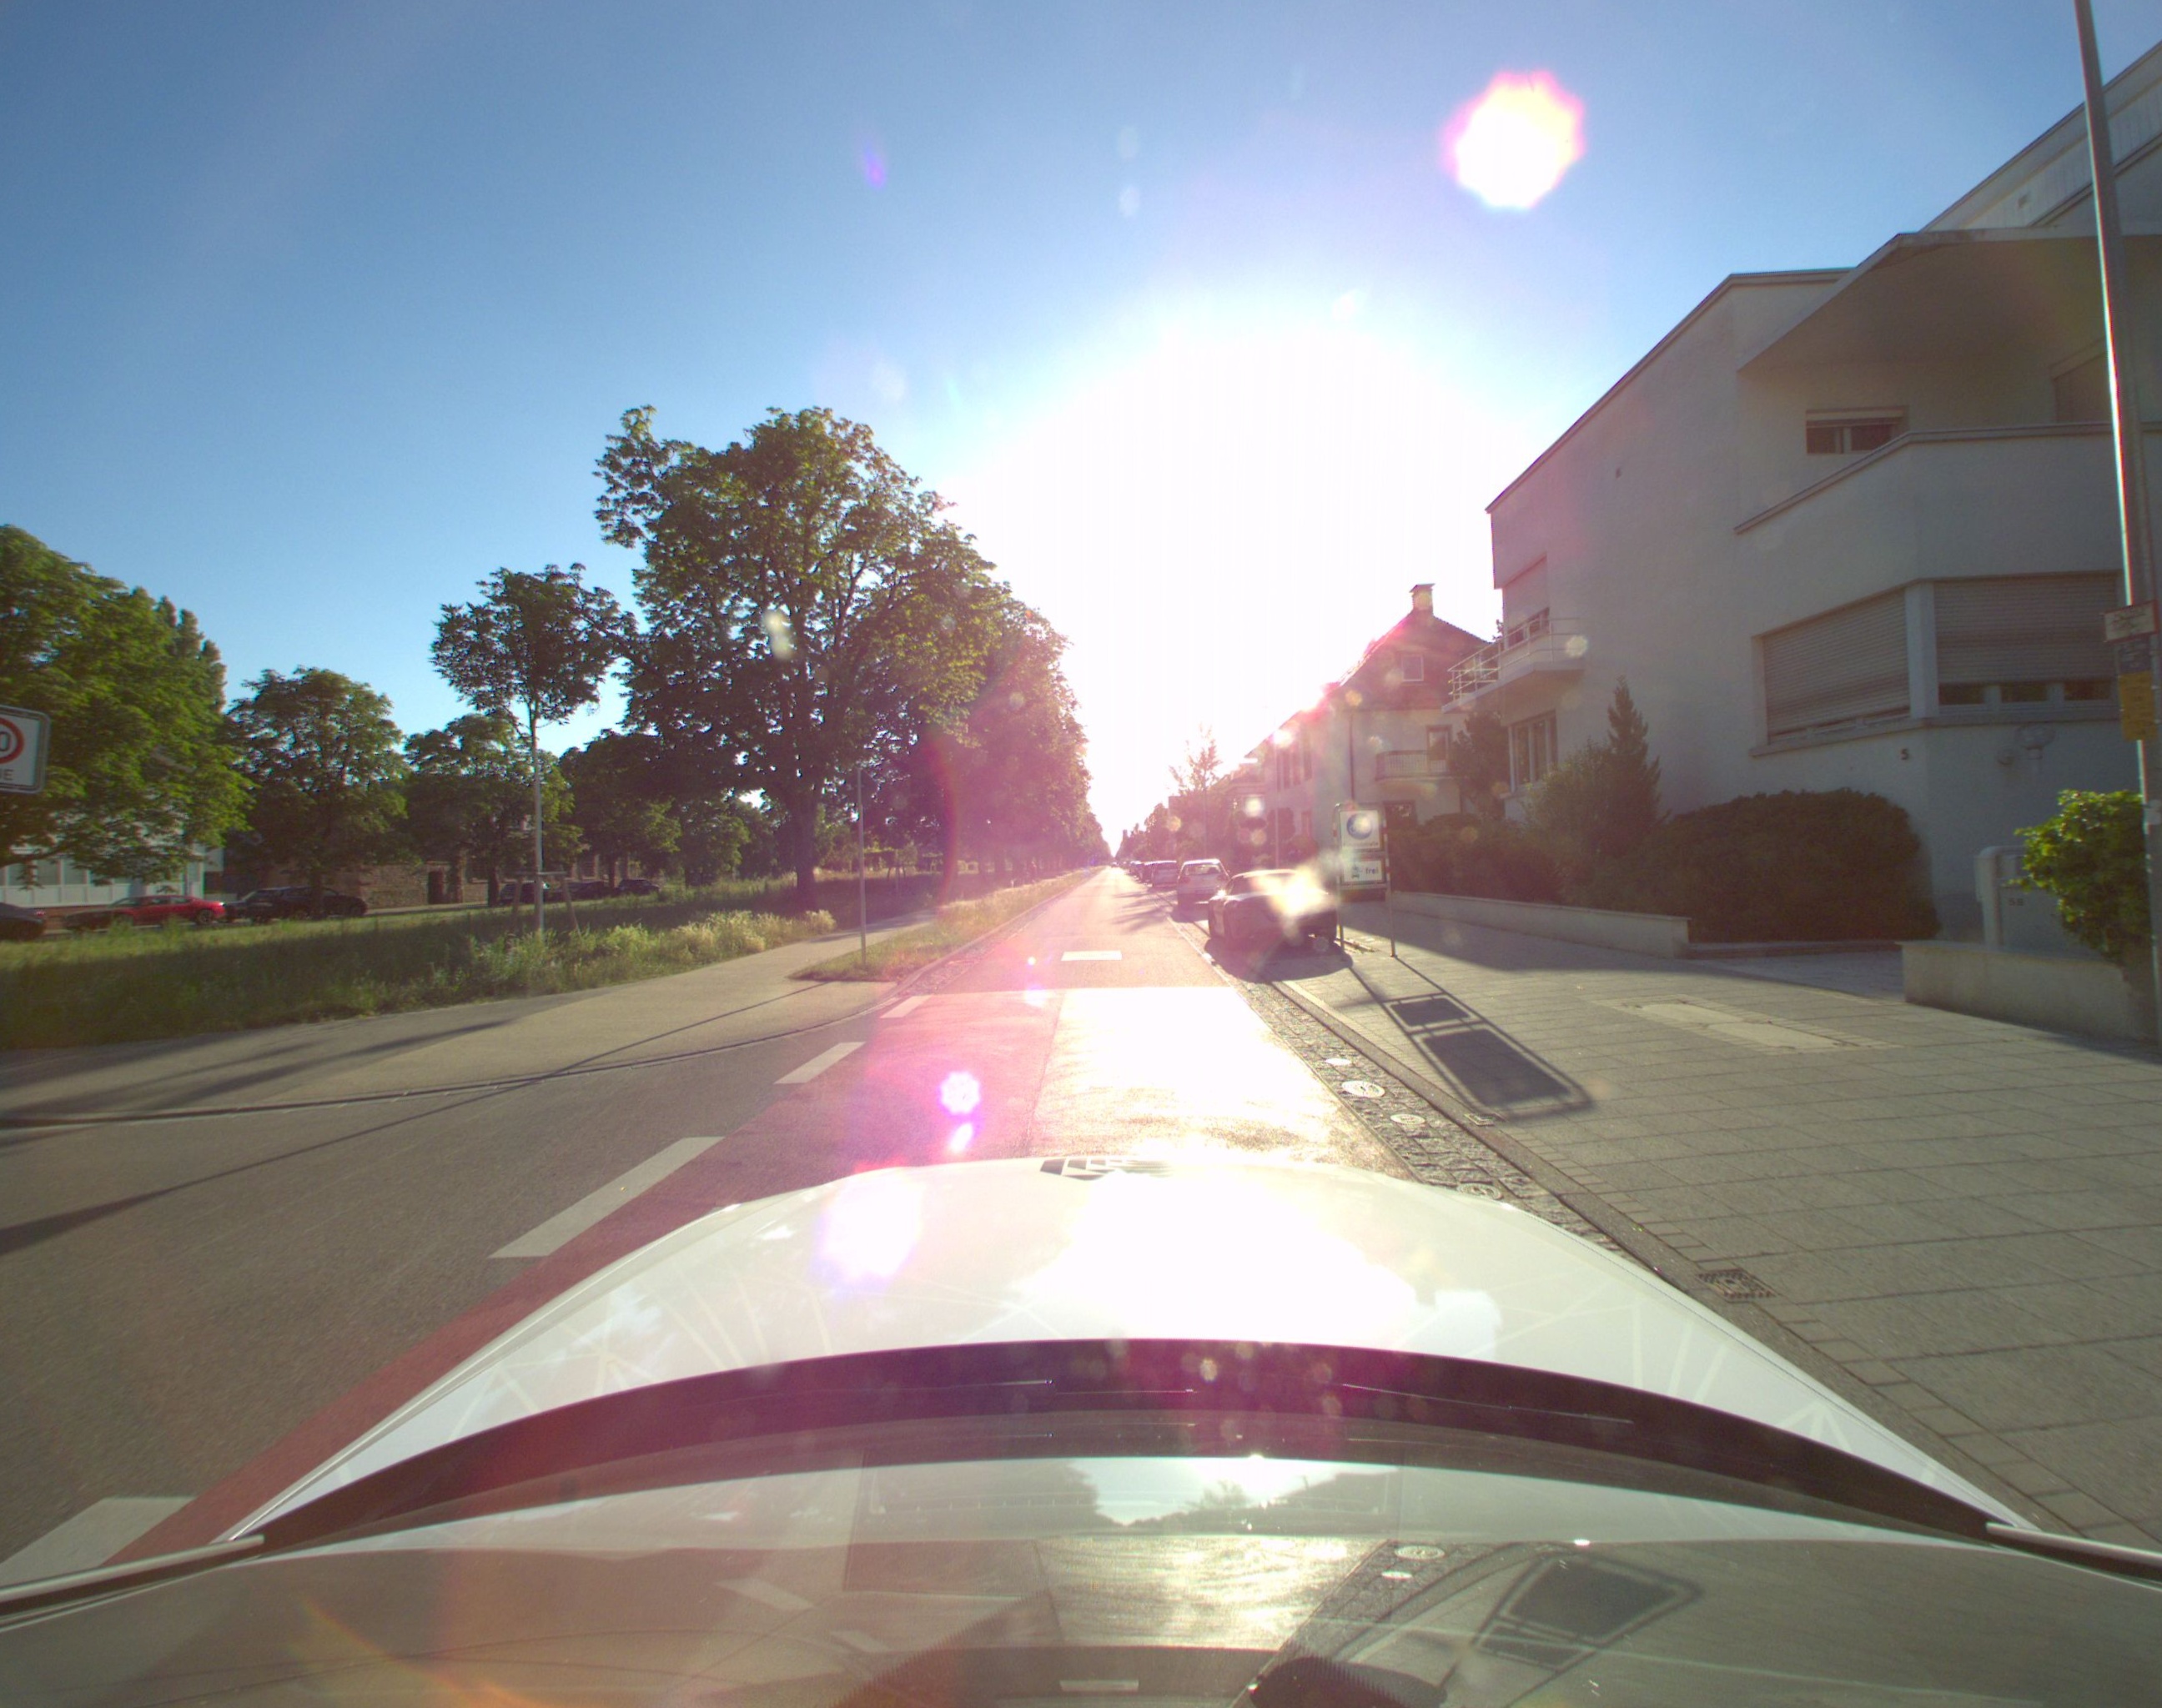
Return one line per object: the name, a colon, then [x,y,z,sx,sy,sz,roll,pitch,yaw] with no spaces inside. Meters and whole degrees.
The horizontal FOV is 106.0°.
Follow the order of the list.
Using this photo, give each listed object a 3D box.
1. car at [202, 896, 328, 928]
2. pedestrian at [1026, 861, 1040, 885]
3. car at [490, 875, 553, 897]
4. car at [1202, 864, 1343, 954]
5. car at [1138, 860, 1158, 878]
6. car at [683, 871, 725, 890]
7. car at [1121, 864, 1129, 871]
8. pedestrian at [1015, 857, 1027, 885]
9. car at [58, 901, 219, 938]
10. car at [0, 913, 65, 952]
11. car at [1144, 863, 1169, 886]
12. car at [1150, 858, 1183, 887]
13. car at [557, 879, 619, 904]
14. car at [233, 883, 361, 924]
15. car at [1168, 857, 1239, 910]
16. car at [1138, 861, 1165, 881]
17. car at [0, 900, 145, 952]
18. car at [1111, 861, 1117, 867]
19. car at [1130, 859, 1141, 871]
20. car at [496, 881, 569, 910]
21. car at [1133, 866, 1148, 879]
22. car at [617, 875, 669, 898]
car: [-40.392,2.842,40.475,1.563,1.332,4.482,-1,-1,3]
pedestrian: [-3.229,1.270,55.052,0.779,1.614,0.953,-2,-1,6]
car: [-40.351,2.282,58.840,1.623,1.406,4.002,-1,-1,2]
car: [3.422,0.918,15.375,1.767,1.288,4.275,-4,0,3]
car: [5.999,1.346,72.941,1.586,1.510,3.594,-2,-1,3]
car: [-34.173,2.359,73.958,1.686,1.597,4.222,-1,-1,2]
car: [9.613,3.005,176.755,1.645,1.541,3.269,-1,-1,3]
pedestrian: [-4.067,1.146,54.908,0.621,1.831,0.887,-2,-1,6]
car: [-40.656,2.785,35.311,1.563,1.332,4.482,-1,-1,3]
car: [-40.968,2.966,29.888,1.563,1.332,4.484,-1,-1,3]
car: [5.406,1.436,57.783,1.649,1.494,3.722,-3,-1,6]
car: [4.876,1.056,46.820,1.621,1.505,3.636,-4,-1,3]
car: [-34.737,2.605,57.460,1.686,1.597,4.222,-1,-1,2]
car: [-35.694,2.218,37.253,1.686,1.597,4.222,-1,-1,2]
car: [3.946,0.937,26.901,1.738,1.474,3.923,-5,-1,1]
car: [5.451,1.317,63.203,1.730,1.449,4.197,-3,-1,1]
car: [-35.602,2.445,28.107,1.687,1.476,4.221,-1,-1,0]
car: [9.848,2.953,242.235,1.645,1.541,3.268,-1,-1,2]
car: [7.715,1.514,115.034,1.492,1.567,3.269,-2,-1,3]
car: [-34.747,2.594,51.742,1.686,1.597,4.222,-1,-1,2]
car: [6.949,2.159,95.867,1.645,1.396,3.269,-2,-1,3]
car: [-34.232,2.507,63.744,1.686,1.597,4.222,-1,-1,2]
